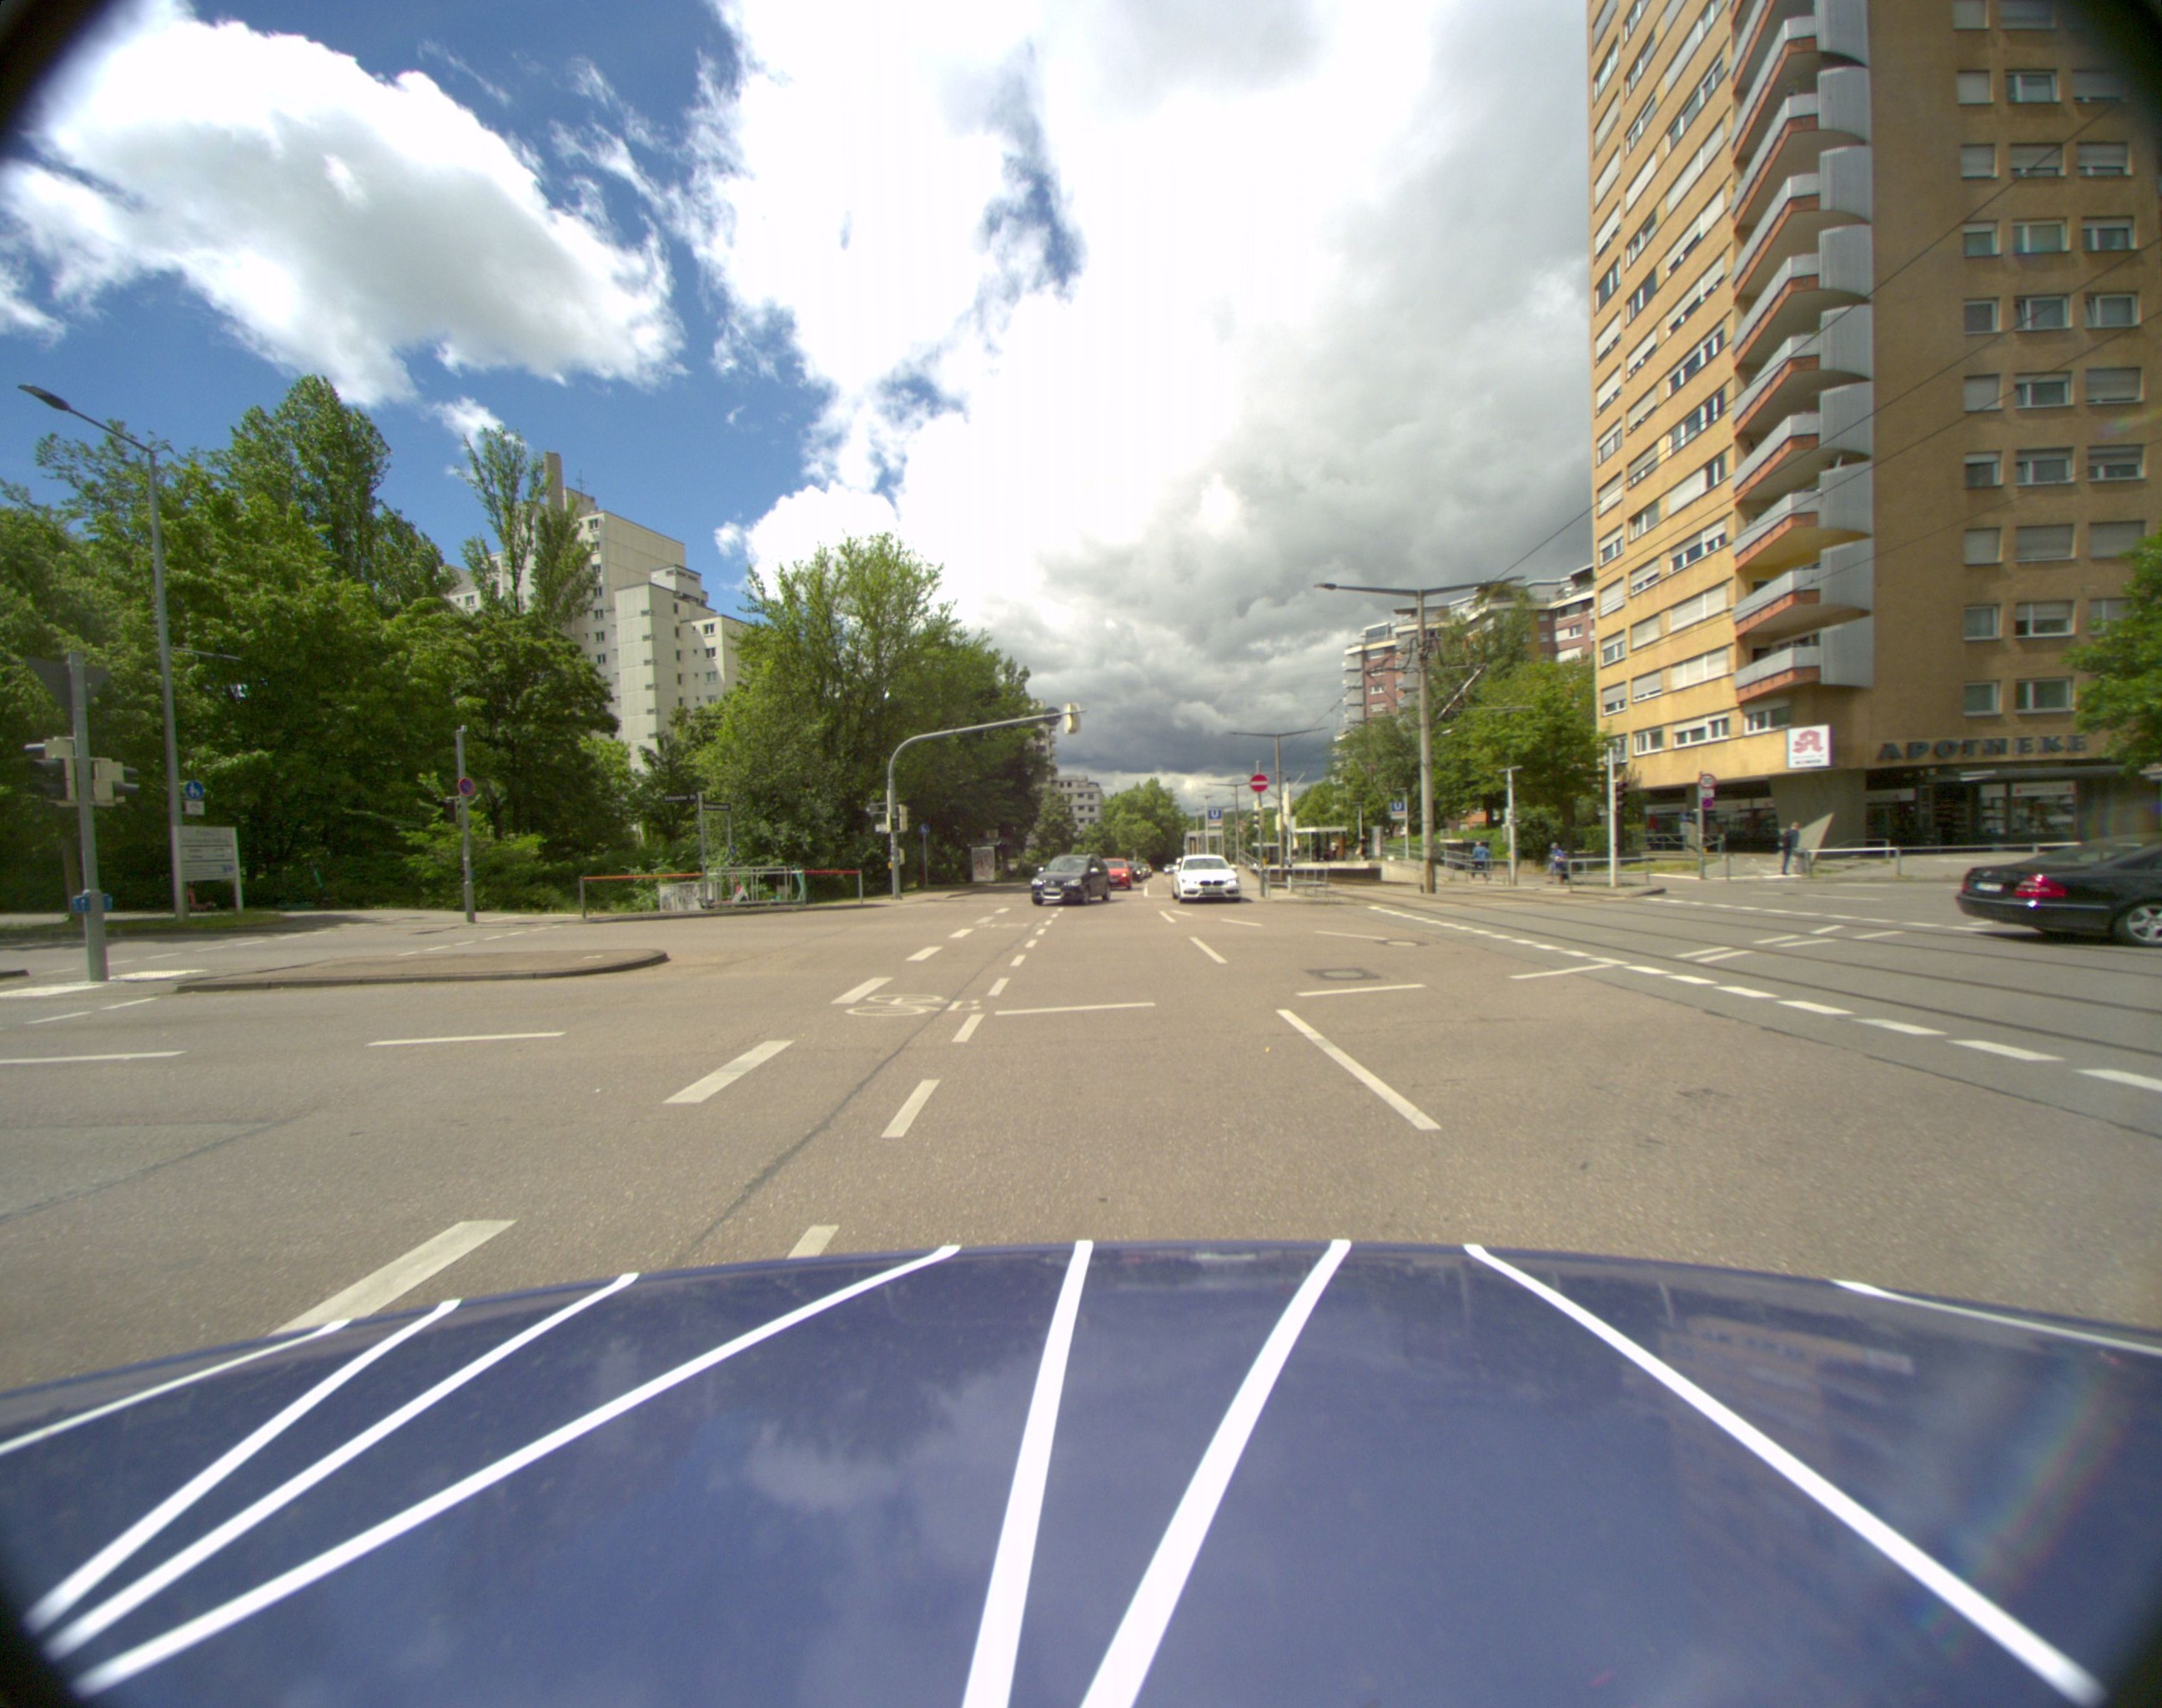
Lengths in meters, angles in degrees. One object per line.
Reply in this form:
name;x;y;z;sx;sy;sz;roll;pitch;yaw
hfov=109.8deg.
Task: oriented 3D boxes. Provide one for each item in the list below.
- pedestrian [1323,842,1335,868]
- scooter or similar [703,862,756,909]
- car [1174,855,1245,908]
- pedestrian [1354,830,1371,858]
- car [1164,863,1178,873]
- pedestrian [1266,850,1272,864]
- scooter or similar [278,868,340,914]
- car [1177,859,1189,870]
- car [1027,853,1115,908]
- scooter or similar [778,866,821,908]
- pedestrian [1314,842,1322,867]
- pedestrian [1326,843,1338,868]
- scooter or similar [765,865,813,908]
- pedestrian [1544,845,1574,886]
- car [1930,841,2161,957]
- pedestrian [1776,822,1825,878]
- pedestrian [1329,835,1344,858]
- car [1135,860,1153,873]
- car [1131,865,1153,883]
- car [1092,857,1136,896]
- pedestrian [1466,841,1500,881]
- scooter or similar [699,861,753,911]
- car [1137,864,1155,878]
pedestrian;19.742;0.083;60.397;0.780;2.002;0.584;-1;1;4
scooter or similar;-9.556;0.844;20.667;1.185;1.228;0.479;-1;1;-9
car;3.851;0.813;23.327;1.793;1.442;4.278;-1;-1;5
pedestrian;18.421;-0.637;49.692;0.865;1.763;0.747;-1;1;4
car;12.517;1.950;105.148;1.804;1.207;4.024;-1;0;8
pedestrian;24.052;0.398;97.299;0.774;1.696;0.767;-1;1;13
scooter or similar;-20.385;0.960;20.072;1.174;1.176;0.523;-1;1;8
car;20.663;2.068;153.885;1.998;2.136;4.000;-1;0;1
car;-0.216;0.771;23.470;1.679;1.529;3.798;-1;0;16
scooter or similar;-9.568;1.126;25.832;1.212;1.284;0.534;-5;-2;-30
pedestrian;20.077;0.021;64.274;0.532;2.129;0.608;-1;1;8
pedestrian;19.742;0.117;59.715;0.770;1.920;0.573;-1;1;2
scooter or similar;-8.203;0.903;21.361;1.170;1.188;0.449;-1;1;8
pedestrian;17.834;0.412;28.367;0.720;1.505;0.649;-1;0;4
car;14.459;0.522;9.543;4.662;1.390;1.981;-1;0;28
pedestrian;25.450;-0.136;26.884;0.920;1.923;0.853;-1;1;4
pedestrian;18.435;-0.552;54.820;0.865;1.597;0.747;-1;1;4
car;7.238;1.430;87.460;1.845;1.409;4.002;-1;0;8
car;4.686;1.529;58.334;1.605;1.207;3.772;-1;0;4
car;1.472;1.006;35.172;1.819;1.483;3.999;-4;1;0
pedestrian;16.961;0.297;32.046;0.910;1.588;0.721;-6;0;4
scooter or similar;-9.133;0.817;19.576;1.212;1.228;0.478;-1;1;-24
car;5.862;1.512;68.306;1.605;1.207;3.773;-1;0;6
